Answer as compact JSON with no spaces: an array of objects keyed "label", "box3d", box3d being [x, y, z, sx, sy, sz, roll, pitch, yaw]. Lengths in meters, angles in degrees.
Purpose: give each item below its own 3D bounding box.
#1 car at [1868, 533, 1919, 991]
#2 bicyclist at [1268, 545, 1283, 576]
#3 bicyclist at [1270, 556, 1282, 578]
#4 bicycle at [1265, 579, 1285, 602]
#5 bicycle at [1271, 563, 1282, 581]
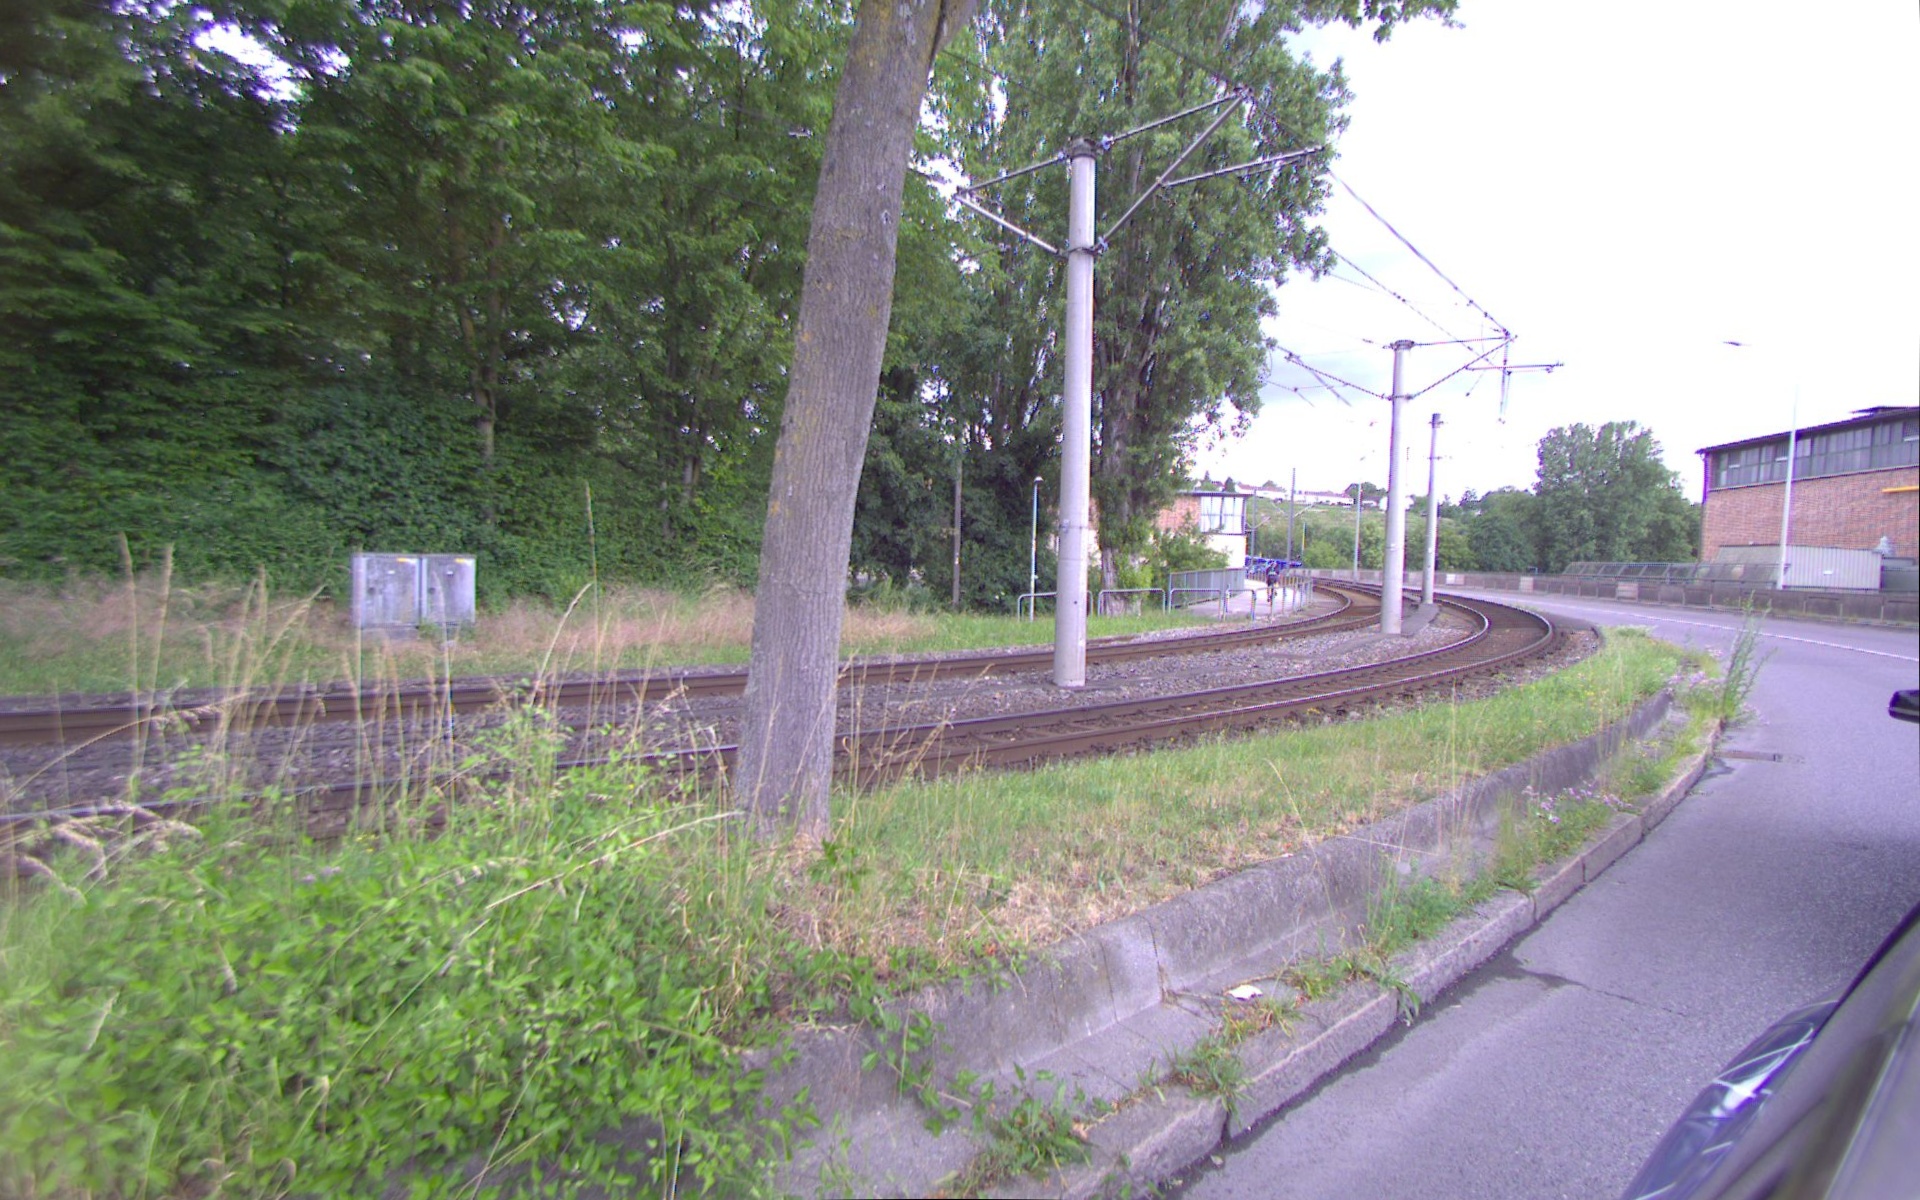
[{"label":"car","box3d":[5.436,0.580,4.334,3.932,1.641,1.859,-2,4,-42]},{"label":"bicyclist","box3d":[11.472,-1.436,36.804,0.414,1.097,0.469,2,2,29]},{"label":"bicyclist","box3d":[19.741,-2.035,63.181,0.586,1.377,0.907,1,1,12]},{"label":"bicycle","box3d":[11.474,-0.359,36.847,0.345,0.804,1.532,2,2,29]},{"label":"bicycle","box3d":[19.756,-1.746,63.223,0.420,1.063,2.073,1,1,12]}]
